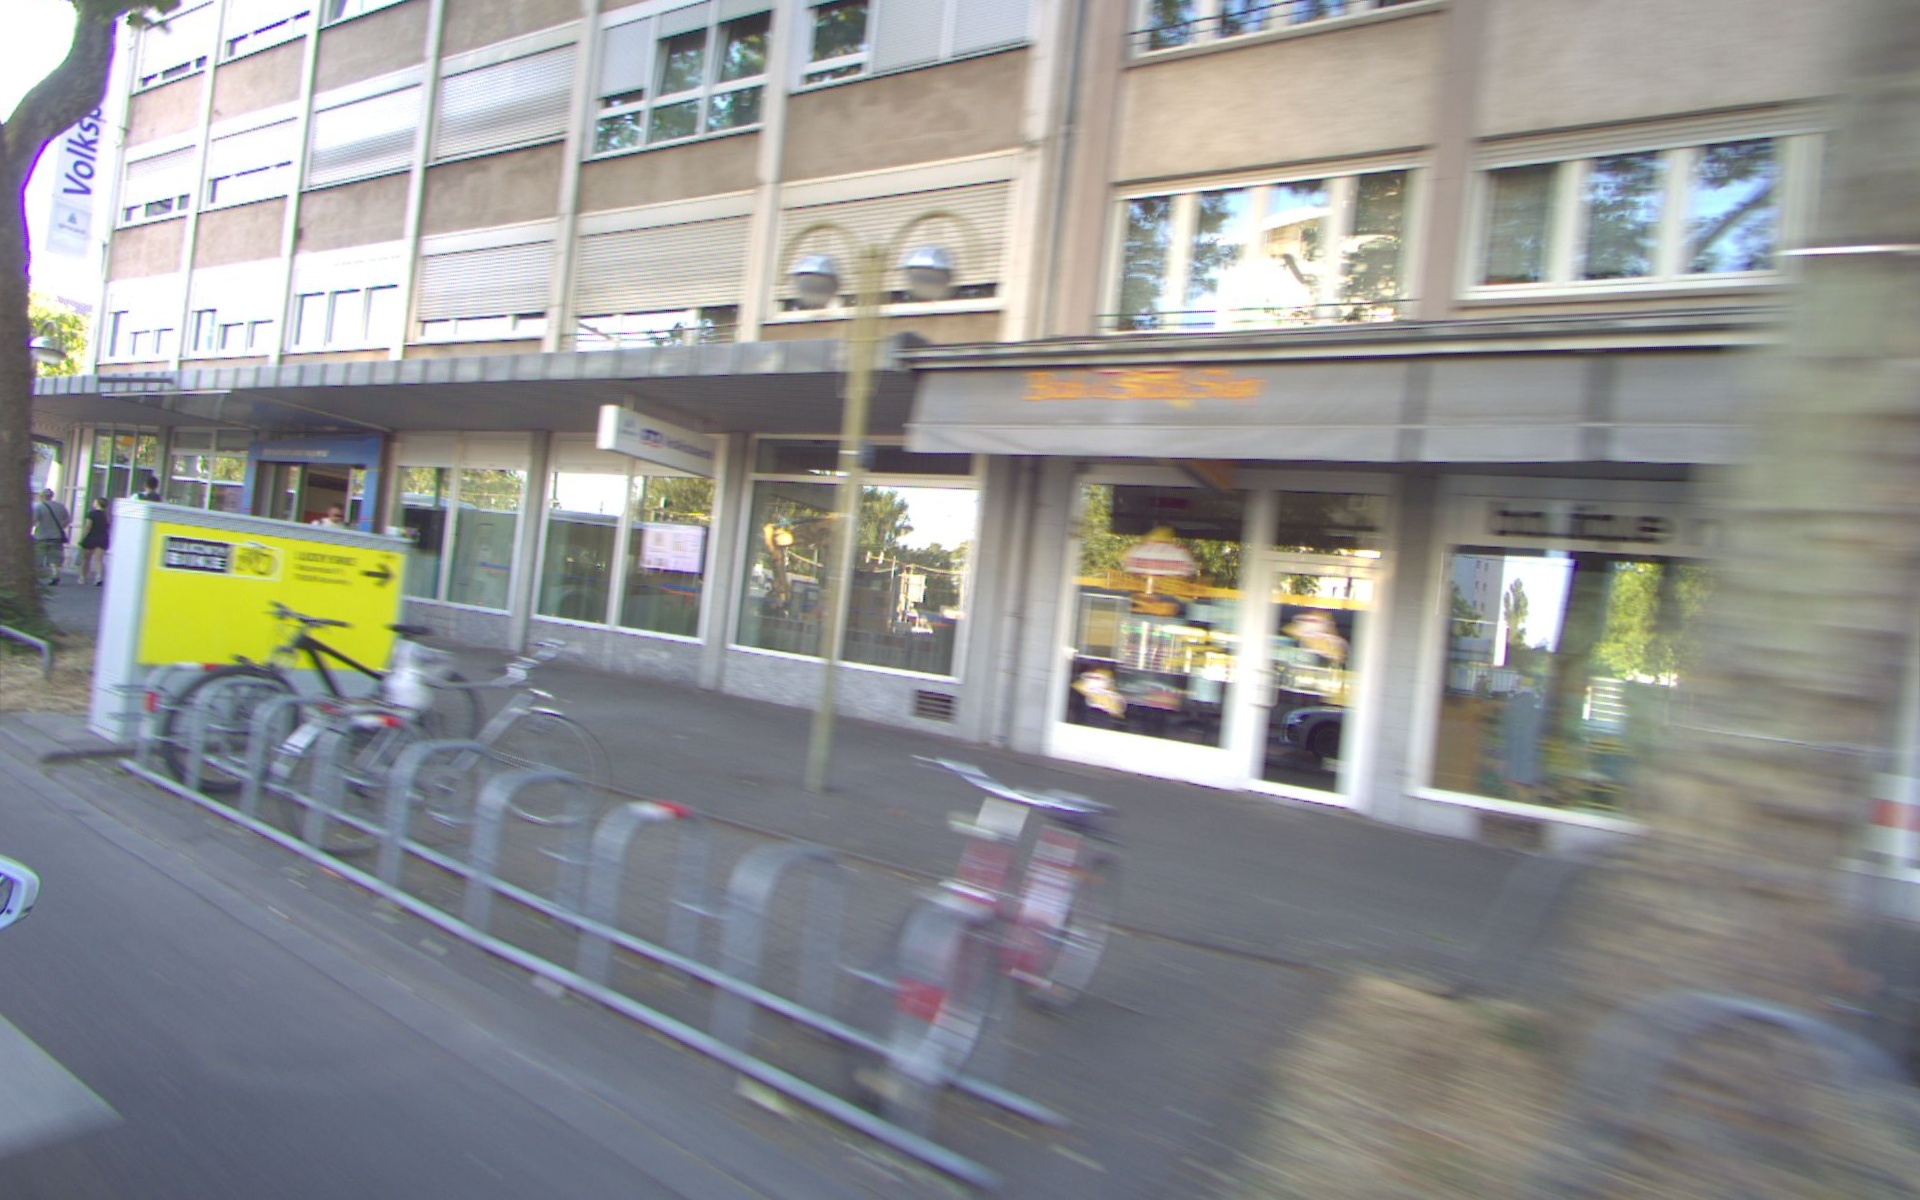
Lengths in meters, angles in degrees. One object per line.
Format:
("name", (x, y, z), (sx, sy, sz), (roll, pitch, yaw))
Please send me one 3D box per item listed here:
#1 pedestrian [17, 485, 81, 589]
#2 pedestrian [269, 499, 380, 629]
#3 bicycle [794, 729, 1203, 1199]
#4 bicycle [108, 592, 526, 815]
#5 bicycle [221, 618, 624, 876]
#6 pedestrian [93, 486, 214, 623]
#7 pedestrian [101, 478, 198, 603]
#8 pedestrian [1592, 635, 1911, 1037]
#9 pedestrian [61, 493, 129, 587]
("pedestrian", (-15.969, -1.104, 17.631), (0.667, 1.731, 0.583), (7, 3, 29))
("pedestrian", (-9.041, -0.514, 14.322), (1.052, 1.721, 0.899), (7, 4, 29))
("bicycle", (0.266, 1.060, 3.459), (0.632, 1.035, 1.793), (7, 0, 26))
("bicycle", (-3.800, 0.585, 6.180), (0.757, 1.071, 1.991), (6, 0, 26))
("bicycle", (-2.718, 0.701, 5.297), (0.633, 1.071, 1.716), (7, 0, 30))
("pedestrian", (-10.953, -0.605, 13.665), (1.052, 1.734, 0.899), (7, 3, 29))
("pedestrian", (-13.078, -0.958, 16.240), (1.080, 1.895, 0.838), (7, 4, 29))
("pedestrian", (3.902, 1.085, 5.083), (0.973, 1.694, 0.844), (7, 1, 29))
("pedestrian", (-15.723, -1.080, 18.280), (0.761, 1.594, 0.633), (7, 3, 29))
